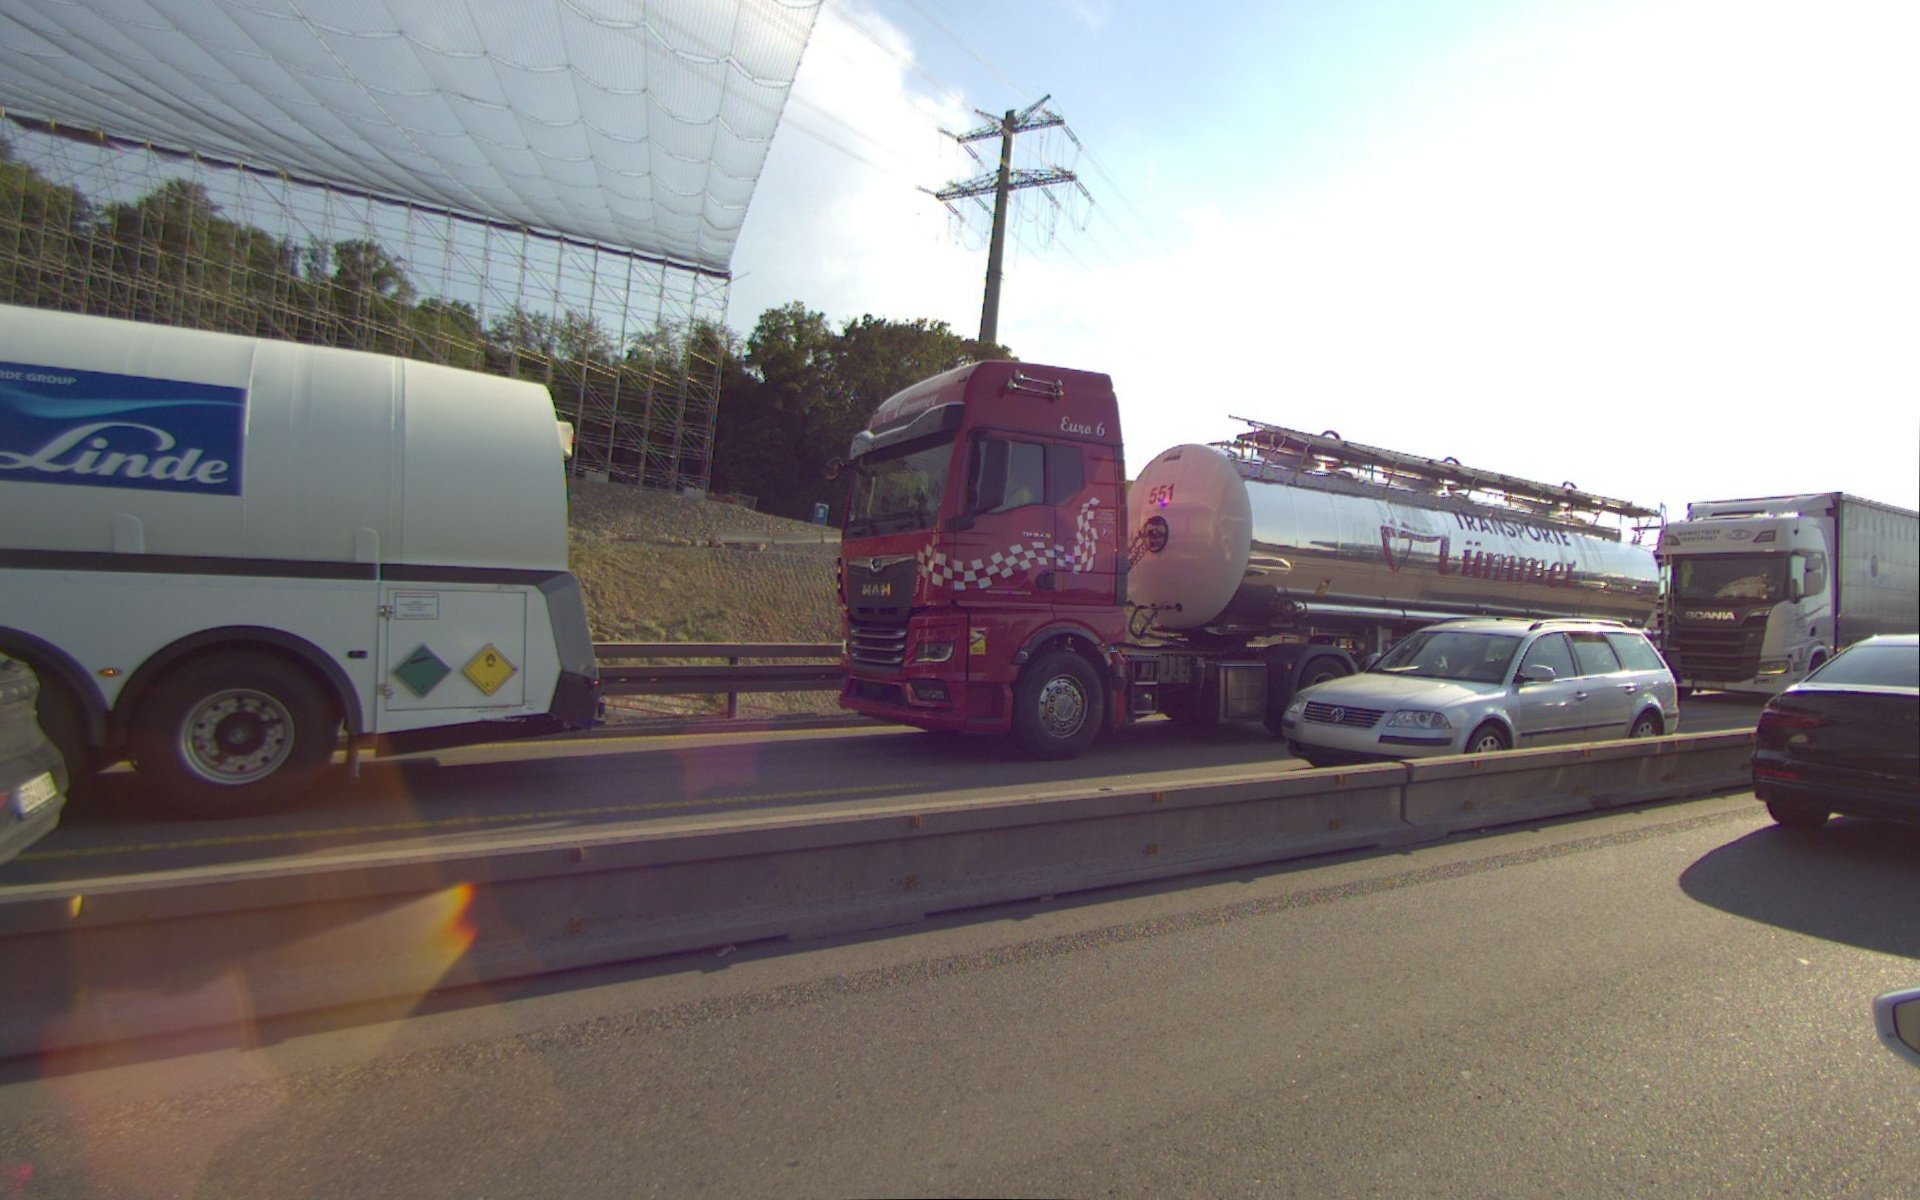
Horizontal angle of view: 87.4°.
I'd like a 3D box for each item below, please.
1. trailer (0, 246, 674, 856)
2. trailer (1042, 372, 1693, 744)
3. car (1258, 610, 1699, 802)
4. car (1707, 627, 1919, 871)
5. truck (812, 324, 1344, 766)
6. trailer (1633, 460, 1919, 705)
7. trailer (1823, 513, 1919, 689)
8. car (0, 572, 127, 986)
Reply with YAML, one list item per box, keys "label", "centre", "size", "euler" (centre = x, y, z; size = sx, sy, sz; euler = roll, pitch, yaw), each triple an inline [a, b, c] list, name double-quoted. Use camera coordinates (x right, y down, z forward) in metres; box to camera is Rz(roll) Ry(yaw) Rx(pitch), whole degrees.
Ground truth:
- label: "trailer"
  centre: [-7.883, -0.355, 5.479]
  size: [11.910, 3.406, 2.296]
  euler: [2, 0, -30]
- label: "trailer"
  centre: [6.659, -0.251, 14.603]
  size: [11.923, 3.840, 2.293]
  euler: [2, 0, -33]
- label: "car"
  centre: [5.081, 0.893, 9.610]
  size: [4.606, 1.445, 1.618]
  euler: [2, 0, -32]
- label: "car"
  centre: [7.734, 0.966, 7.456]
  size: [4.908, 1.417, 1.923]
  euler: [2, 0, -33]
- label: "truck"
  centre: [1.440, -0.397, 11.235]
  size: [5.556, 3.835, 2.419]
  euler: [2, 0, -32]
- label: "trailer"
  centre: [18.500, -0.156, 21.799]
  size: [10.397, 4.386, 2.462]
  euler: [2, 0, -33]
- label: "trailer"
  centre: [26.288, 0.150, 27.054]
  size: [8.455, 4.244, 2.428]
  euler: [2, 0, -34]
- label: "car"
  centre: [-5.551, 0.548, 3.096]
  size: [4.338, 1.445, 1.619]
  euler: [2, 0, -31]
